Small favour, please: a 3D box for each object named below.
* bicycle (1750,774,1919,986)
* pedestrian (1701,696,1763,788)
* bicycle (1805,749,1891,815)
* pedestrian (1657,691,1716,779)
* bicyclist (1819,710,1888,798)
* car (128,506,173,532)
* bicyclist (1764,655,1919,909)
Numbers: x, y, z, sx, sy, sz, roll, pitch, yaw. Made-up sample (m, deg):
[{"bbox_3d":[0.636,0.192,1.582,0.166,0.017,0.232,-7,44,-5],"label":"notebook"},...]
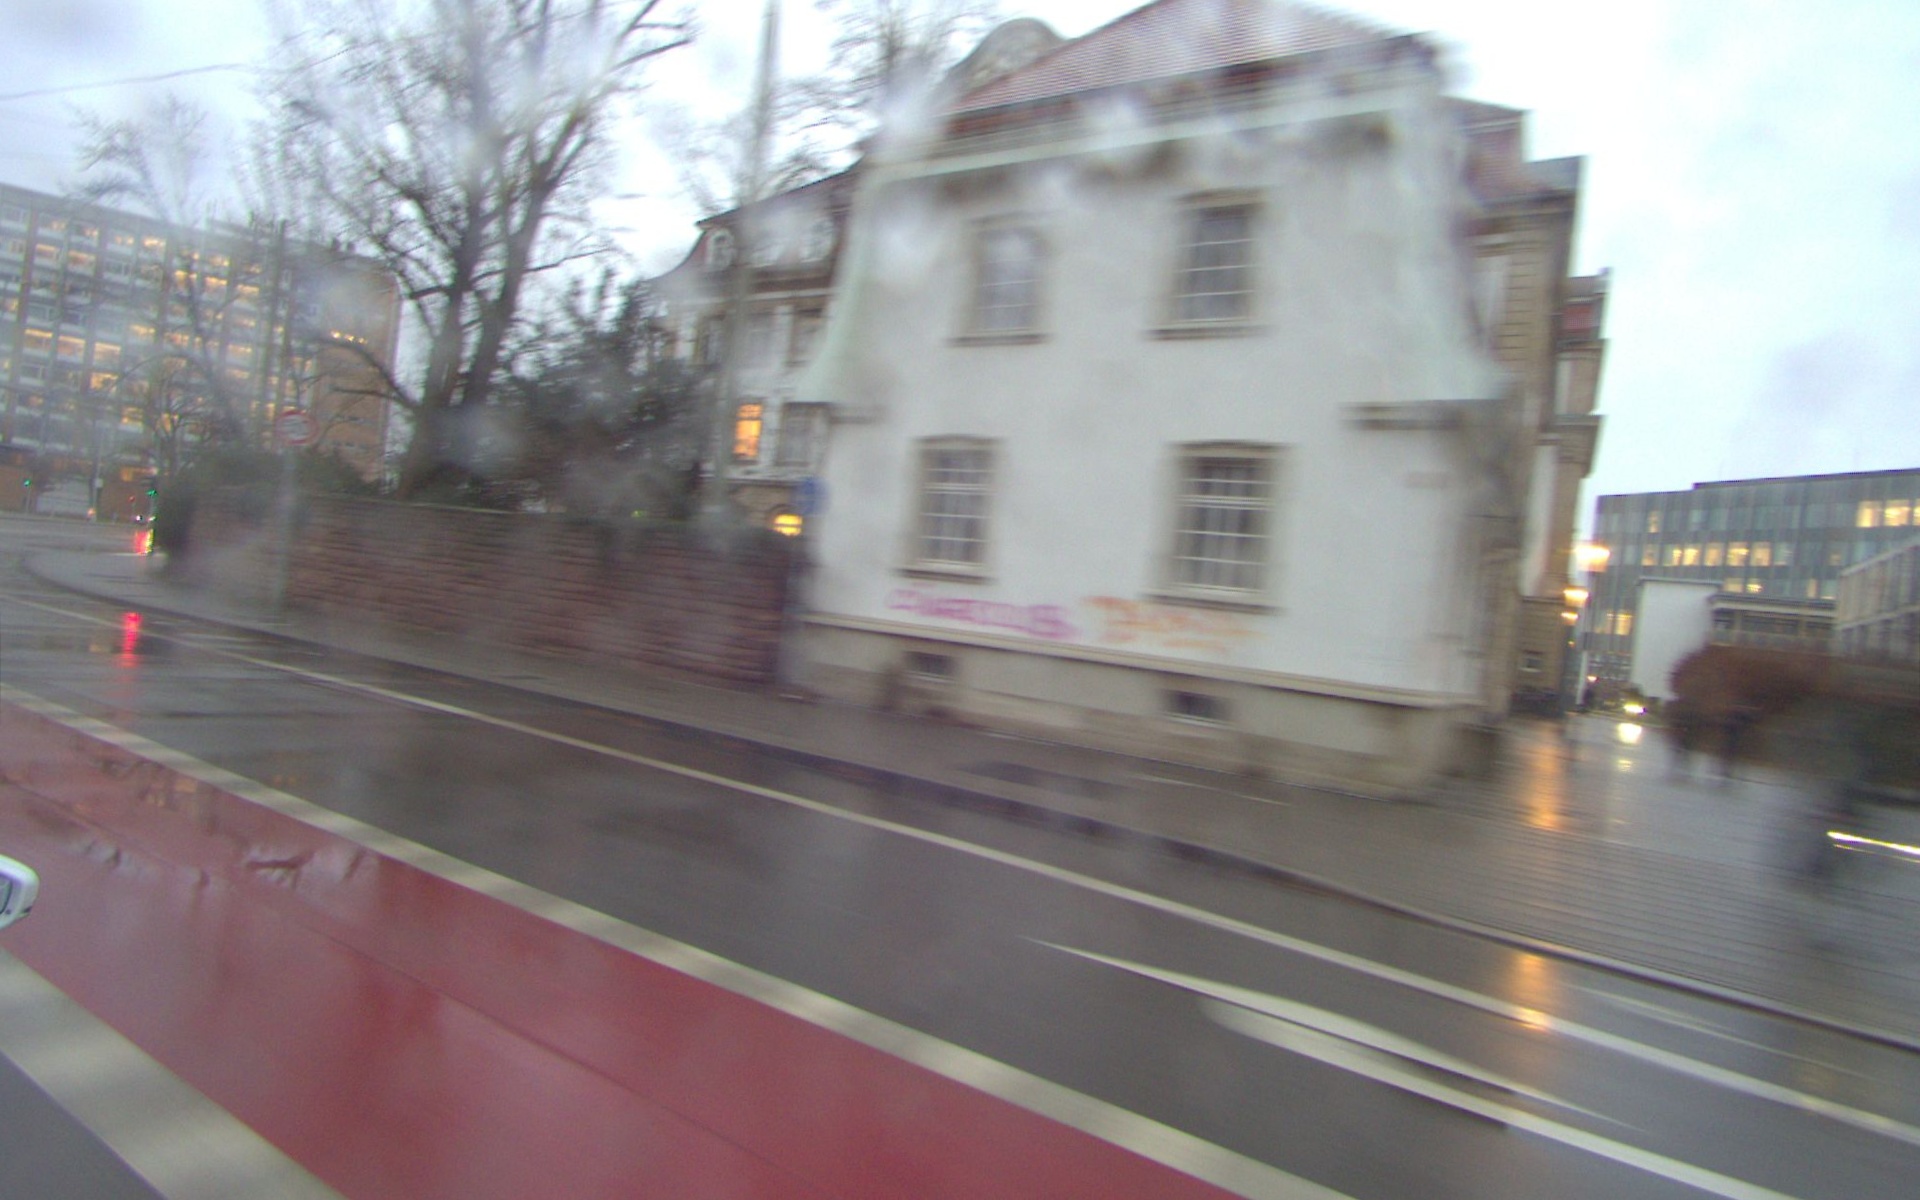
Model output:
[{"bbox_3d":[6.494,1.958,7.341,0.929,0.957,2.113,6,3,34],"label":"bicycle"},{"bbox_3d":[15.514,2.833,20.242,0.735,1.705,0.778,7,1,32],"label":"pedestrian"},{"bbox_3d":[15.719,3.209,17.864,0.891,0.956,2.016,6,-4,36],"label":"bicycle"},{"bbox_3d":[14.902,2.741,20.657,0.735,1.664,0.778,7,1,32],"label":"pedestrian"},{"bbox_3d":[15.919,2.740,17.944,0.726,1.425,0.860,6,-3,37],"label":"bicyclist"},{"bbox_3d":[-66.271,-6.611,82.443,1.737,1.682,4.503,6,0,-25],"label":"car"},{"bbox_3d":[6.412,1.250,7.254,0.768,1.616,0.853,6,1,35],"label":"bicyclist"}]
